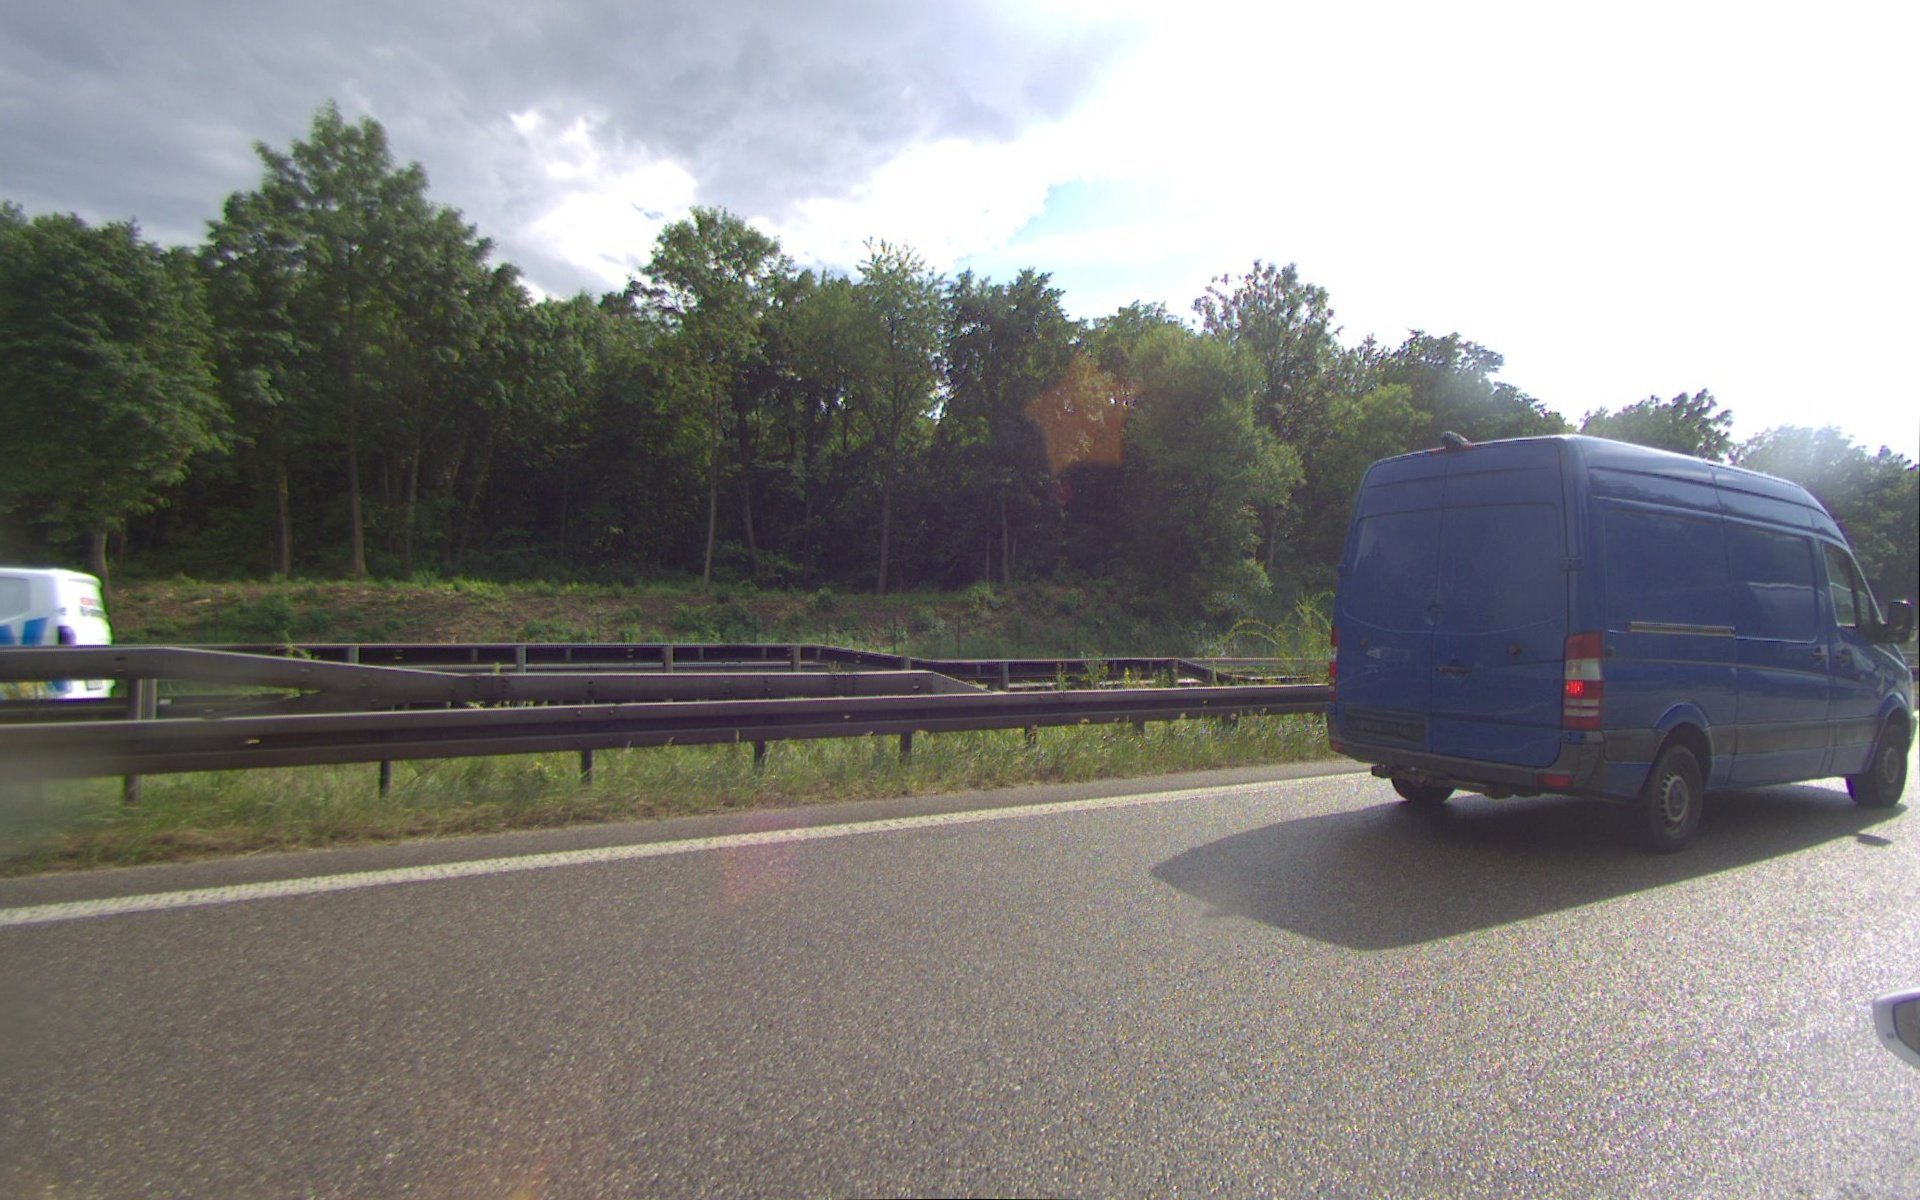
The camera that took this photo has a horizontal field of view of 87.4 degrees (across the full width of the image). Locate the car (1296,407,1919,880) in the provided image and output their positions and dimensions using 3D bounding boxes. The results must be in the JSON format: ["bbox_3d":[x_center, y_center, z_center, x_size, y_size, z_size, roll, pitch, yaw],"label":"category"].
[{"bbox_3d":[5.450,0.309,8.042,5.710,2.684,2.005,1,0,-31],"label":"car"}]

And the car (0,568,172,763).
[{"bbox_3d":[-10.812,0.589,9.864,4.565,1.859,1.984,1,1,-30],"label":"car"}]
